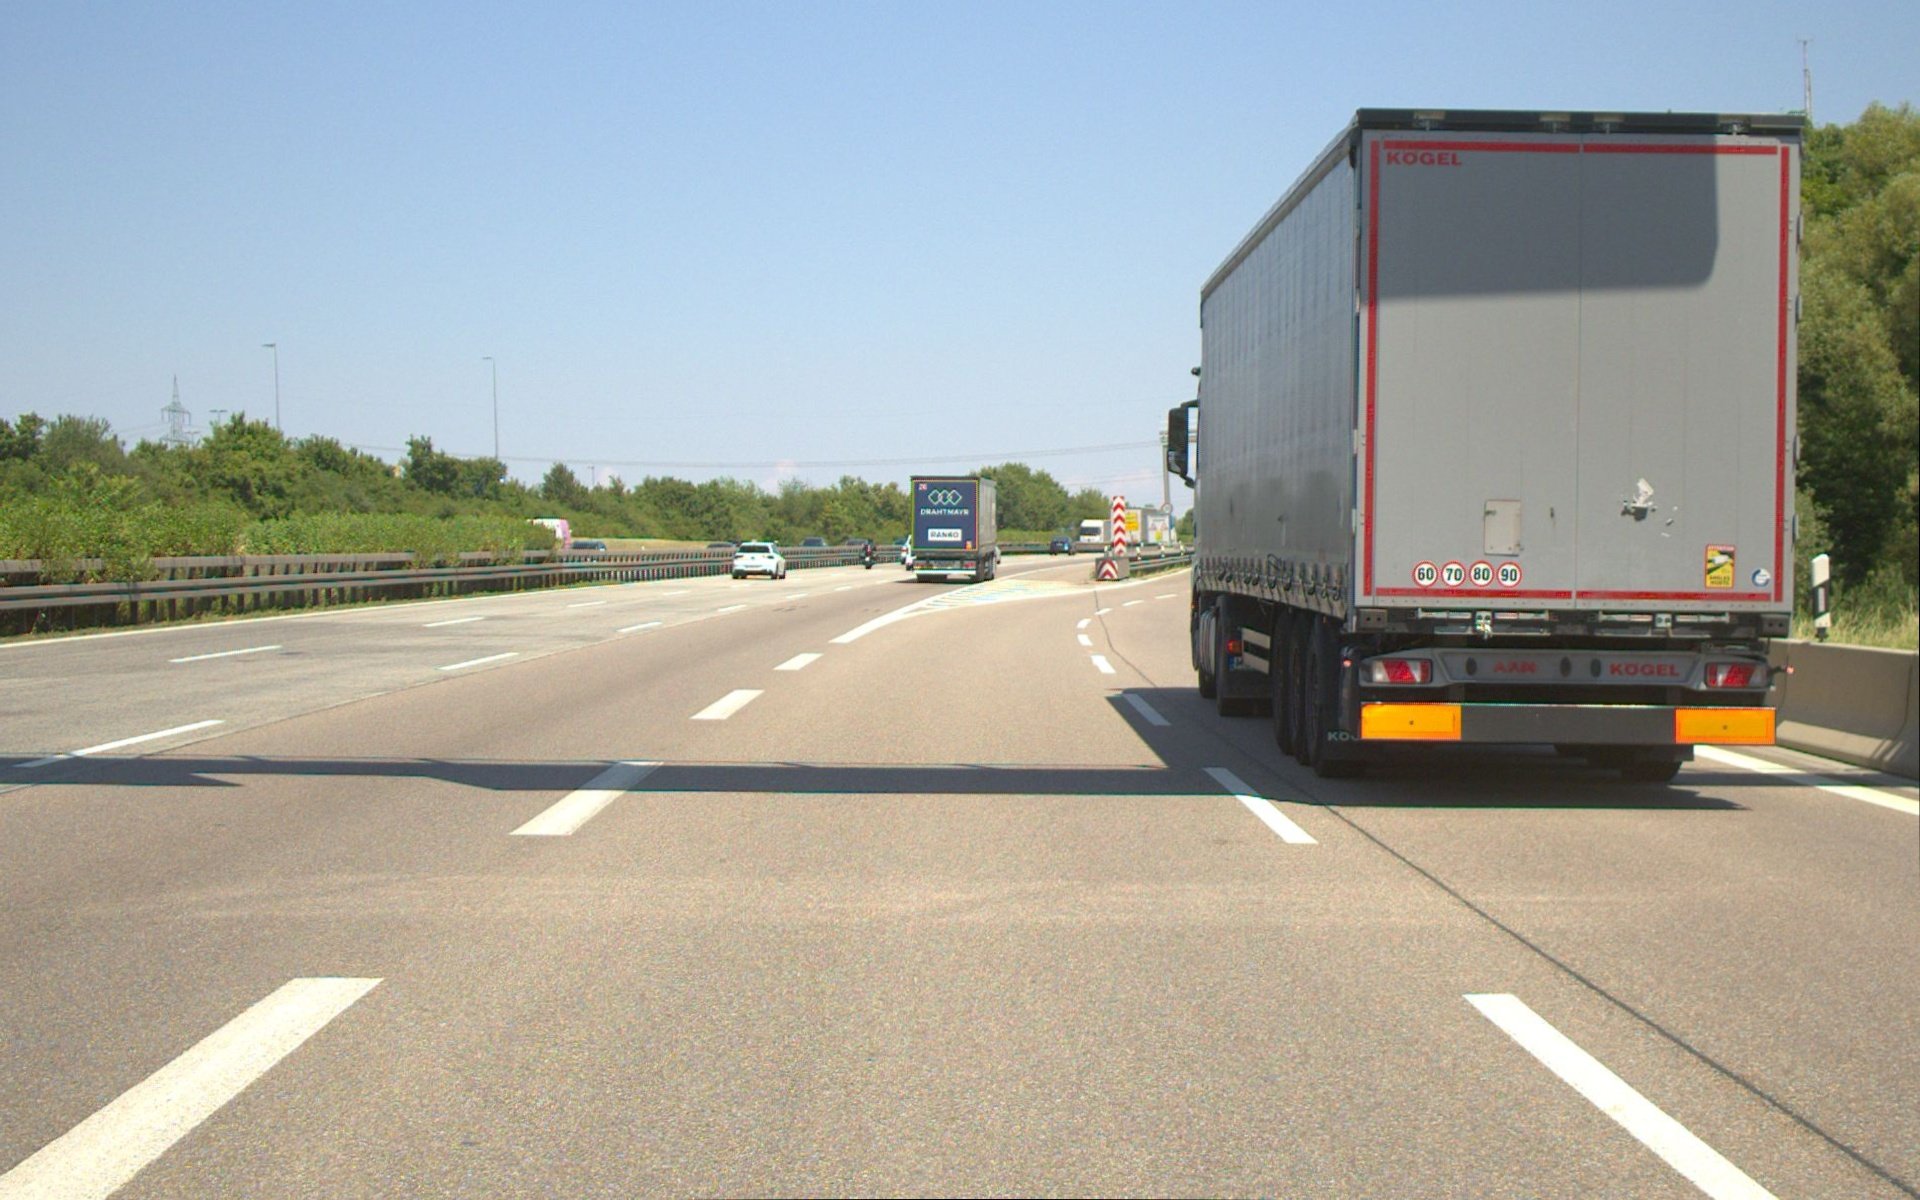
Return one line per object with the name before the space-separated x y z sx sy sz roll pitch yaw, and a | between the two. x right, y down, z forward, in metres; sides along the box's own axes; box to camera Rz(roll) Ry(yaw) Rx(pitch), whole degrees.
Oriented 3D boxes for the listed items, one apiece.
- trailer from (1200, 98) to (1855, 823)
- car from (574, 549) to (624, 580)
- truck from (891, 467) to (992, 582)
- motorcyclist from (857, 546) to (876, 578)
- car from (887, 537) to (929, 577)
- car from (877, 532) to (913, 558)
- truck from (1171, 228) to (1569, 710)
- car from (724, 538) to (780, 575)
trailer | 3.576 -1.001 25.115 2.928 4.001 12.040 0 2 1
car | -17.328 -1.693 165.074 1.782 1.435 4.668 0 0 1
truck | -0.735 -2.955 135.439 3.747 4.255 14.496 0 1 0
motorcyclist | -4.855 -1.985 178.492 0.893 1.592 1.299 0 -3 0
car | -2.636 -2.171 174.584 1.930 1.845 4.692 -1 -1 1
car | -3.916 -3.290 207.224 1.876 1.436 5.125 0 0 2
truck | 3.660 -1.236 32.488 2.928 4.001 7.584 0 2 1
car | -8.131 -1.700 134.855 1.782 1.435 4.668 0 0 1
